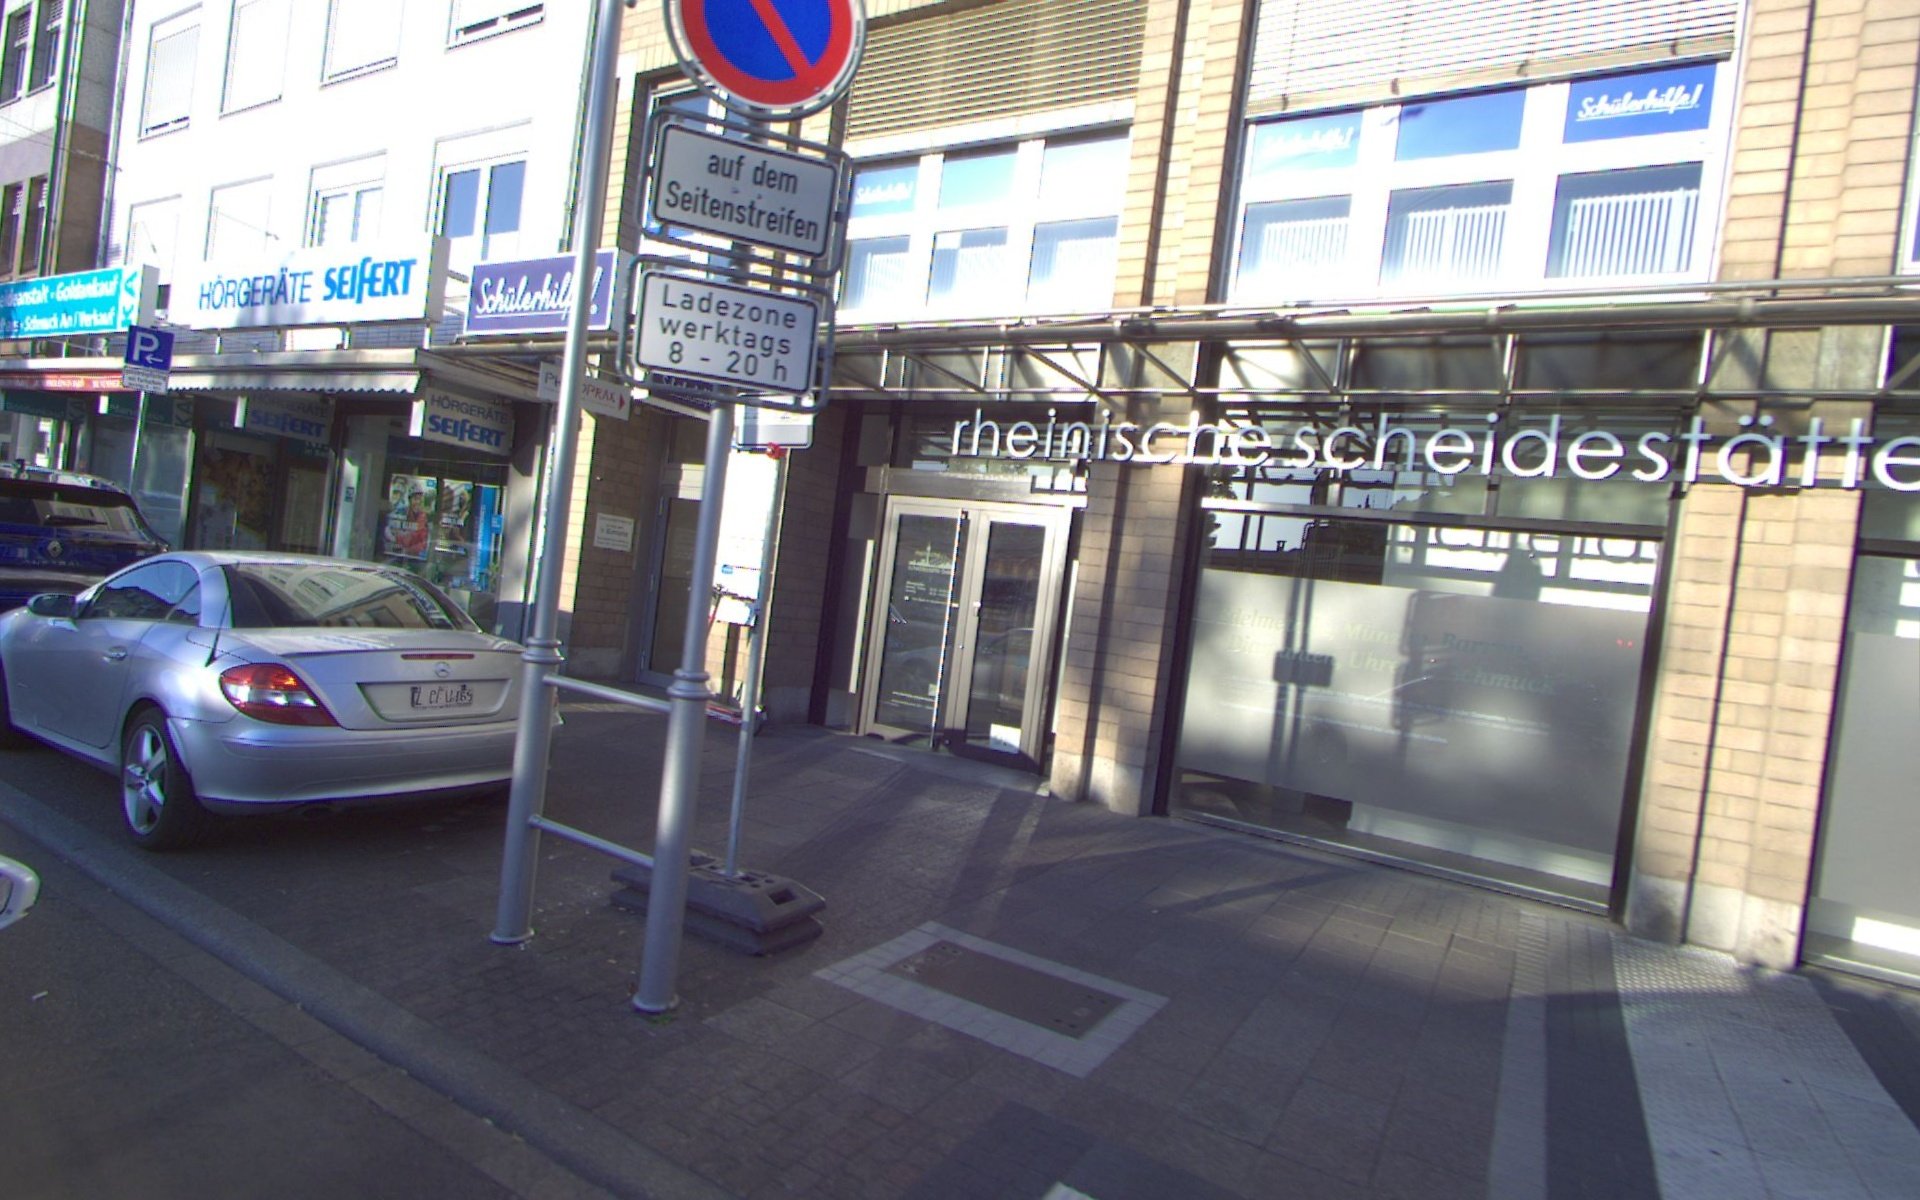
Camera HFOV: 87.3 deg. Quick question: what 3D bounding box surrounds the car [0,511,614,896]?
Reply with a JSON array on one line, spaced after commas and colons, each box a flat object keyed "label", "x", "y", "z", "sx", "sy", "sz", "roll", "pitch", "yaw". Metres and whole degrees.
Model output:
[{"label": "car", "x": -3.959, "y": 0.342, "z": 5.619, "sx": 3.998, "sy": 1.298, "sz": 1.675, "roll": 7, "pitch": 0, "yaw": 34}]

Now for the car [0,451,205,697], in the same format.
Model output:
[{"label": "car", "x": -8.019, "y": -0.382, "z": 7.909, "sx": 4.215, "sy": 1.625, "sz": 1.767, "roll": 7, "pitch": 0, "yaw": 31}]

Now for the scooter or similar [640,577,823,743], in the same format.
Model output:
[{"label": "scooter or similar", "x": -2.022, "y": 0.498, "z": 8.814, "sx": 1.545, "sy": 1.198, "sz": 0.460, "roll": 8, "pitch": 1, "yaw": 30}]
